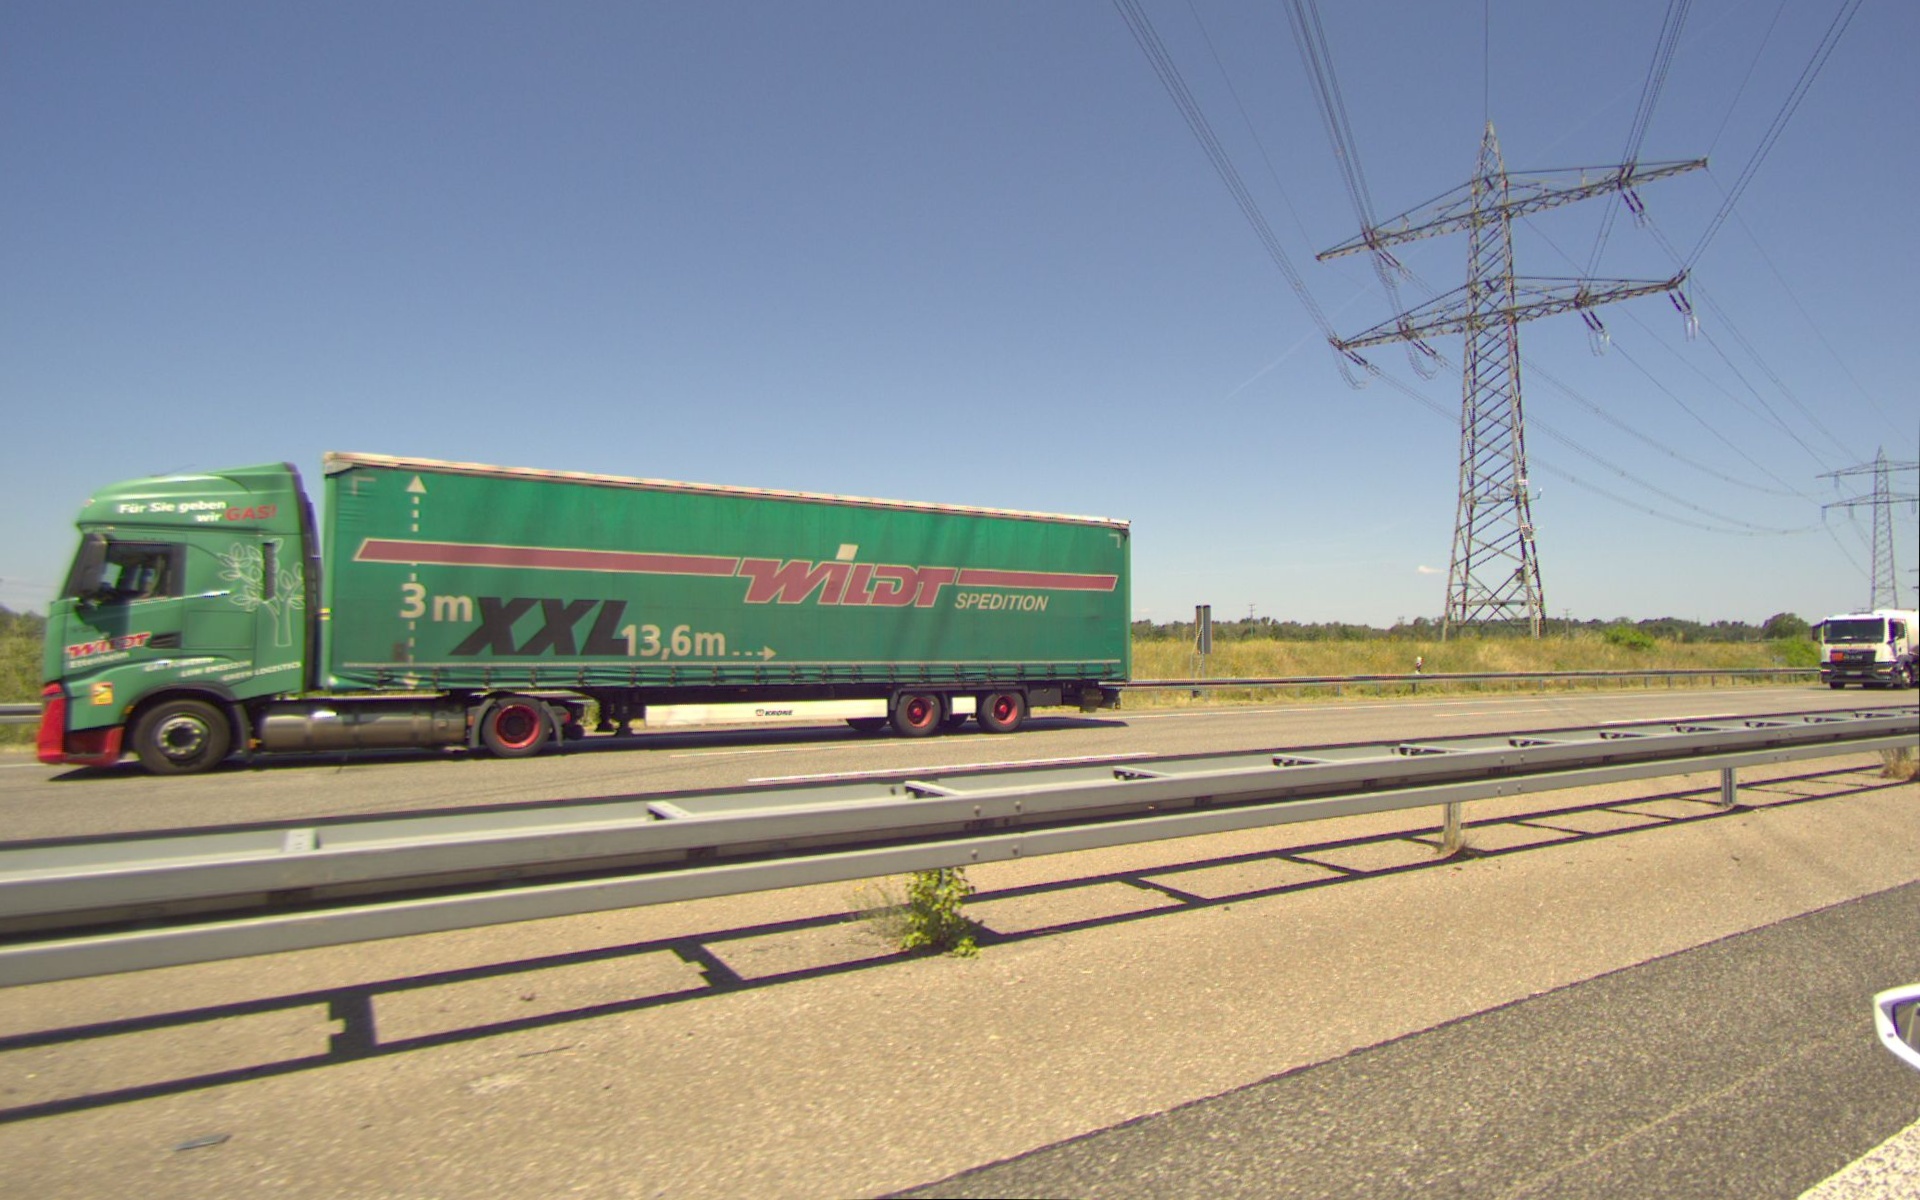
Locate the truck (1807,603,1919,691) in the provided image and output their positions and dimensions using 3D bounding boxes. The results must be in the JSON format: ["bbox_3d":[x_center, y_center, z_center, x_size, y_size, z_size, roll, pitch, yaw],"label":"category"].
[{"bbox_3d":[38.278,1.959,41.940,6.138,3.422,2.472,2,-3,-30],"label":"truck"}]

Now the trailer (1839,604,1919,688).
[{"bbox_3d":[43.239,2.041,44.796,11.424,3.416,2.406,2,-3,-30],"label":"trailer"}]

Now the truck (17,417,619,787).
[{"bbox_3d":[-8.481,0.138,14.208,6.504,4.188,2.686,2,-3,-31],"label":"truck"}]

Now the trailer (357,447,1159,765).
[{"bbox_3d":[-2.565,0.287,17.760,13.756,4.138,2.656,2,-3,-31],"label":"trailer"}]
